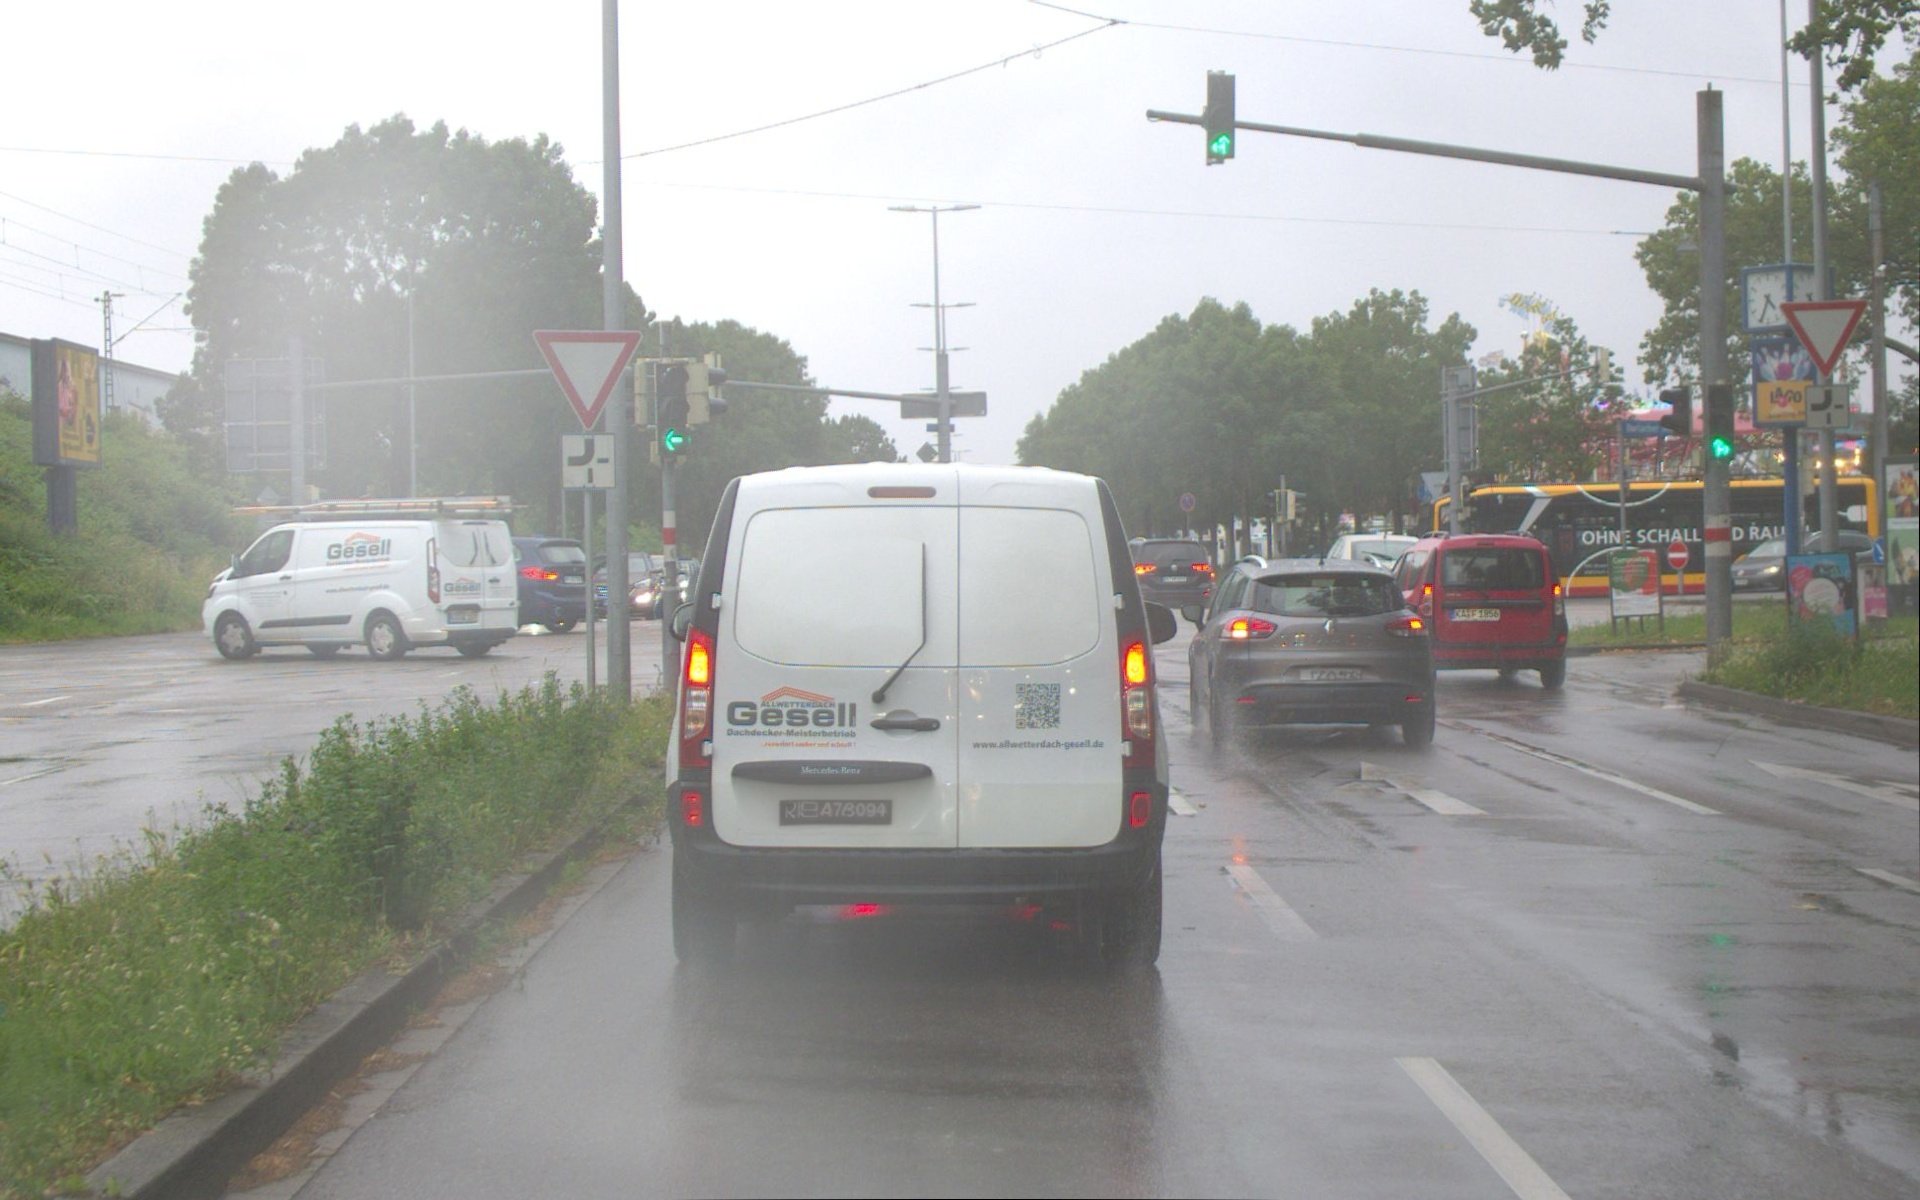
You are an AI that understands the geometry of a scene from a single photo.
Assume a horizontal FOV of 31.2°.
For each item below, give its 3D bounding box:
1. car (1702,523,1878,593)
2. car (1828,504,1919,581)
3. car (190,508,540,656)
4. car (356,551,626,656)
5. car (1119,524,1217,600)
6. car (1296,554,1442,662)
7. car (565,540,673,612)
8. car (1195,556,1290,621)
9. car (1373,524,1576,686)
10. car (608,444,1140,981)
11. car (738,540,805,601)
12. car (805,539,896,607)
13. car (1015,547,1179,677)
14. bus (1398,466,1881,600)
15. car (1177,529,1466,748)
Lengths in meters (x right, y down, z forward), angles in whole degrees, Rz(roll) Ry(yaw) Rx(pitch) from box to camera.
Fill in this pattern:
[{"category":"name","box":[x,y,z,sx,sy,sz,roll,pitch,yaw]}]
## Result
[{"category":"car","box":[20.823,-1.061,86.187,4.329,1.645,1.933,-2,1,-37]},{"category":"car","box":[23.845,-1.444,84.985,4.732,1.842,2.077,-2,1,-37]},{"category":"car","box":[-8.411,-0.250,48.433,4.814,1.949,1.996,0,2,35]},{"category":"car","box":[-7.719,0.057,56.581,3.936,1.613,1.997,-1,1,26]},{"category":"car","box":[4.453,-0.833,74.100,1.993,1.568,4.000,-1,1,2]},{"category":"car","box":[6.372,0.088,53.943,1.842,1.612,4.000,1,1,1]},{"category":"car","box":[-8.366,-0.613,84.614,2.022,1.651,4.061,-1,1,3]},{"category":"car","box":[6.979,-0.310,85.198,1.993,1.555,4.000,1,1,0]},{"category":"car","box":[5.550,0.022,37.448,1.632,1.650,3.485,1,1,0]},{"category":"car","box":[-0.303,0.340,13.404,1.756,1.771,4.000,0,1,0]},{"category":"car","box":[-5.552,-0.896,101.614,1.864,1.714,4.001,-1,1,-2]},{"category":"car","box":[-2.916,-0.745,92.429,2.169,1.714,4.303,-1,1,2]},{"category":"car","box":[1.804,0.126,46.450,1.835,1.650,4.001,1,1,-3]},{"category":"bus","box":[18.148,-1.800,92.385,12.249,3.257,3.275,-1,1,0]},{"category":"car","box":[2.812,0.257,27.529,1.842,1.612,4.000,1,1,0]}]
